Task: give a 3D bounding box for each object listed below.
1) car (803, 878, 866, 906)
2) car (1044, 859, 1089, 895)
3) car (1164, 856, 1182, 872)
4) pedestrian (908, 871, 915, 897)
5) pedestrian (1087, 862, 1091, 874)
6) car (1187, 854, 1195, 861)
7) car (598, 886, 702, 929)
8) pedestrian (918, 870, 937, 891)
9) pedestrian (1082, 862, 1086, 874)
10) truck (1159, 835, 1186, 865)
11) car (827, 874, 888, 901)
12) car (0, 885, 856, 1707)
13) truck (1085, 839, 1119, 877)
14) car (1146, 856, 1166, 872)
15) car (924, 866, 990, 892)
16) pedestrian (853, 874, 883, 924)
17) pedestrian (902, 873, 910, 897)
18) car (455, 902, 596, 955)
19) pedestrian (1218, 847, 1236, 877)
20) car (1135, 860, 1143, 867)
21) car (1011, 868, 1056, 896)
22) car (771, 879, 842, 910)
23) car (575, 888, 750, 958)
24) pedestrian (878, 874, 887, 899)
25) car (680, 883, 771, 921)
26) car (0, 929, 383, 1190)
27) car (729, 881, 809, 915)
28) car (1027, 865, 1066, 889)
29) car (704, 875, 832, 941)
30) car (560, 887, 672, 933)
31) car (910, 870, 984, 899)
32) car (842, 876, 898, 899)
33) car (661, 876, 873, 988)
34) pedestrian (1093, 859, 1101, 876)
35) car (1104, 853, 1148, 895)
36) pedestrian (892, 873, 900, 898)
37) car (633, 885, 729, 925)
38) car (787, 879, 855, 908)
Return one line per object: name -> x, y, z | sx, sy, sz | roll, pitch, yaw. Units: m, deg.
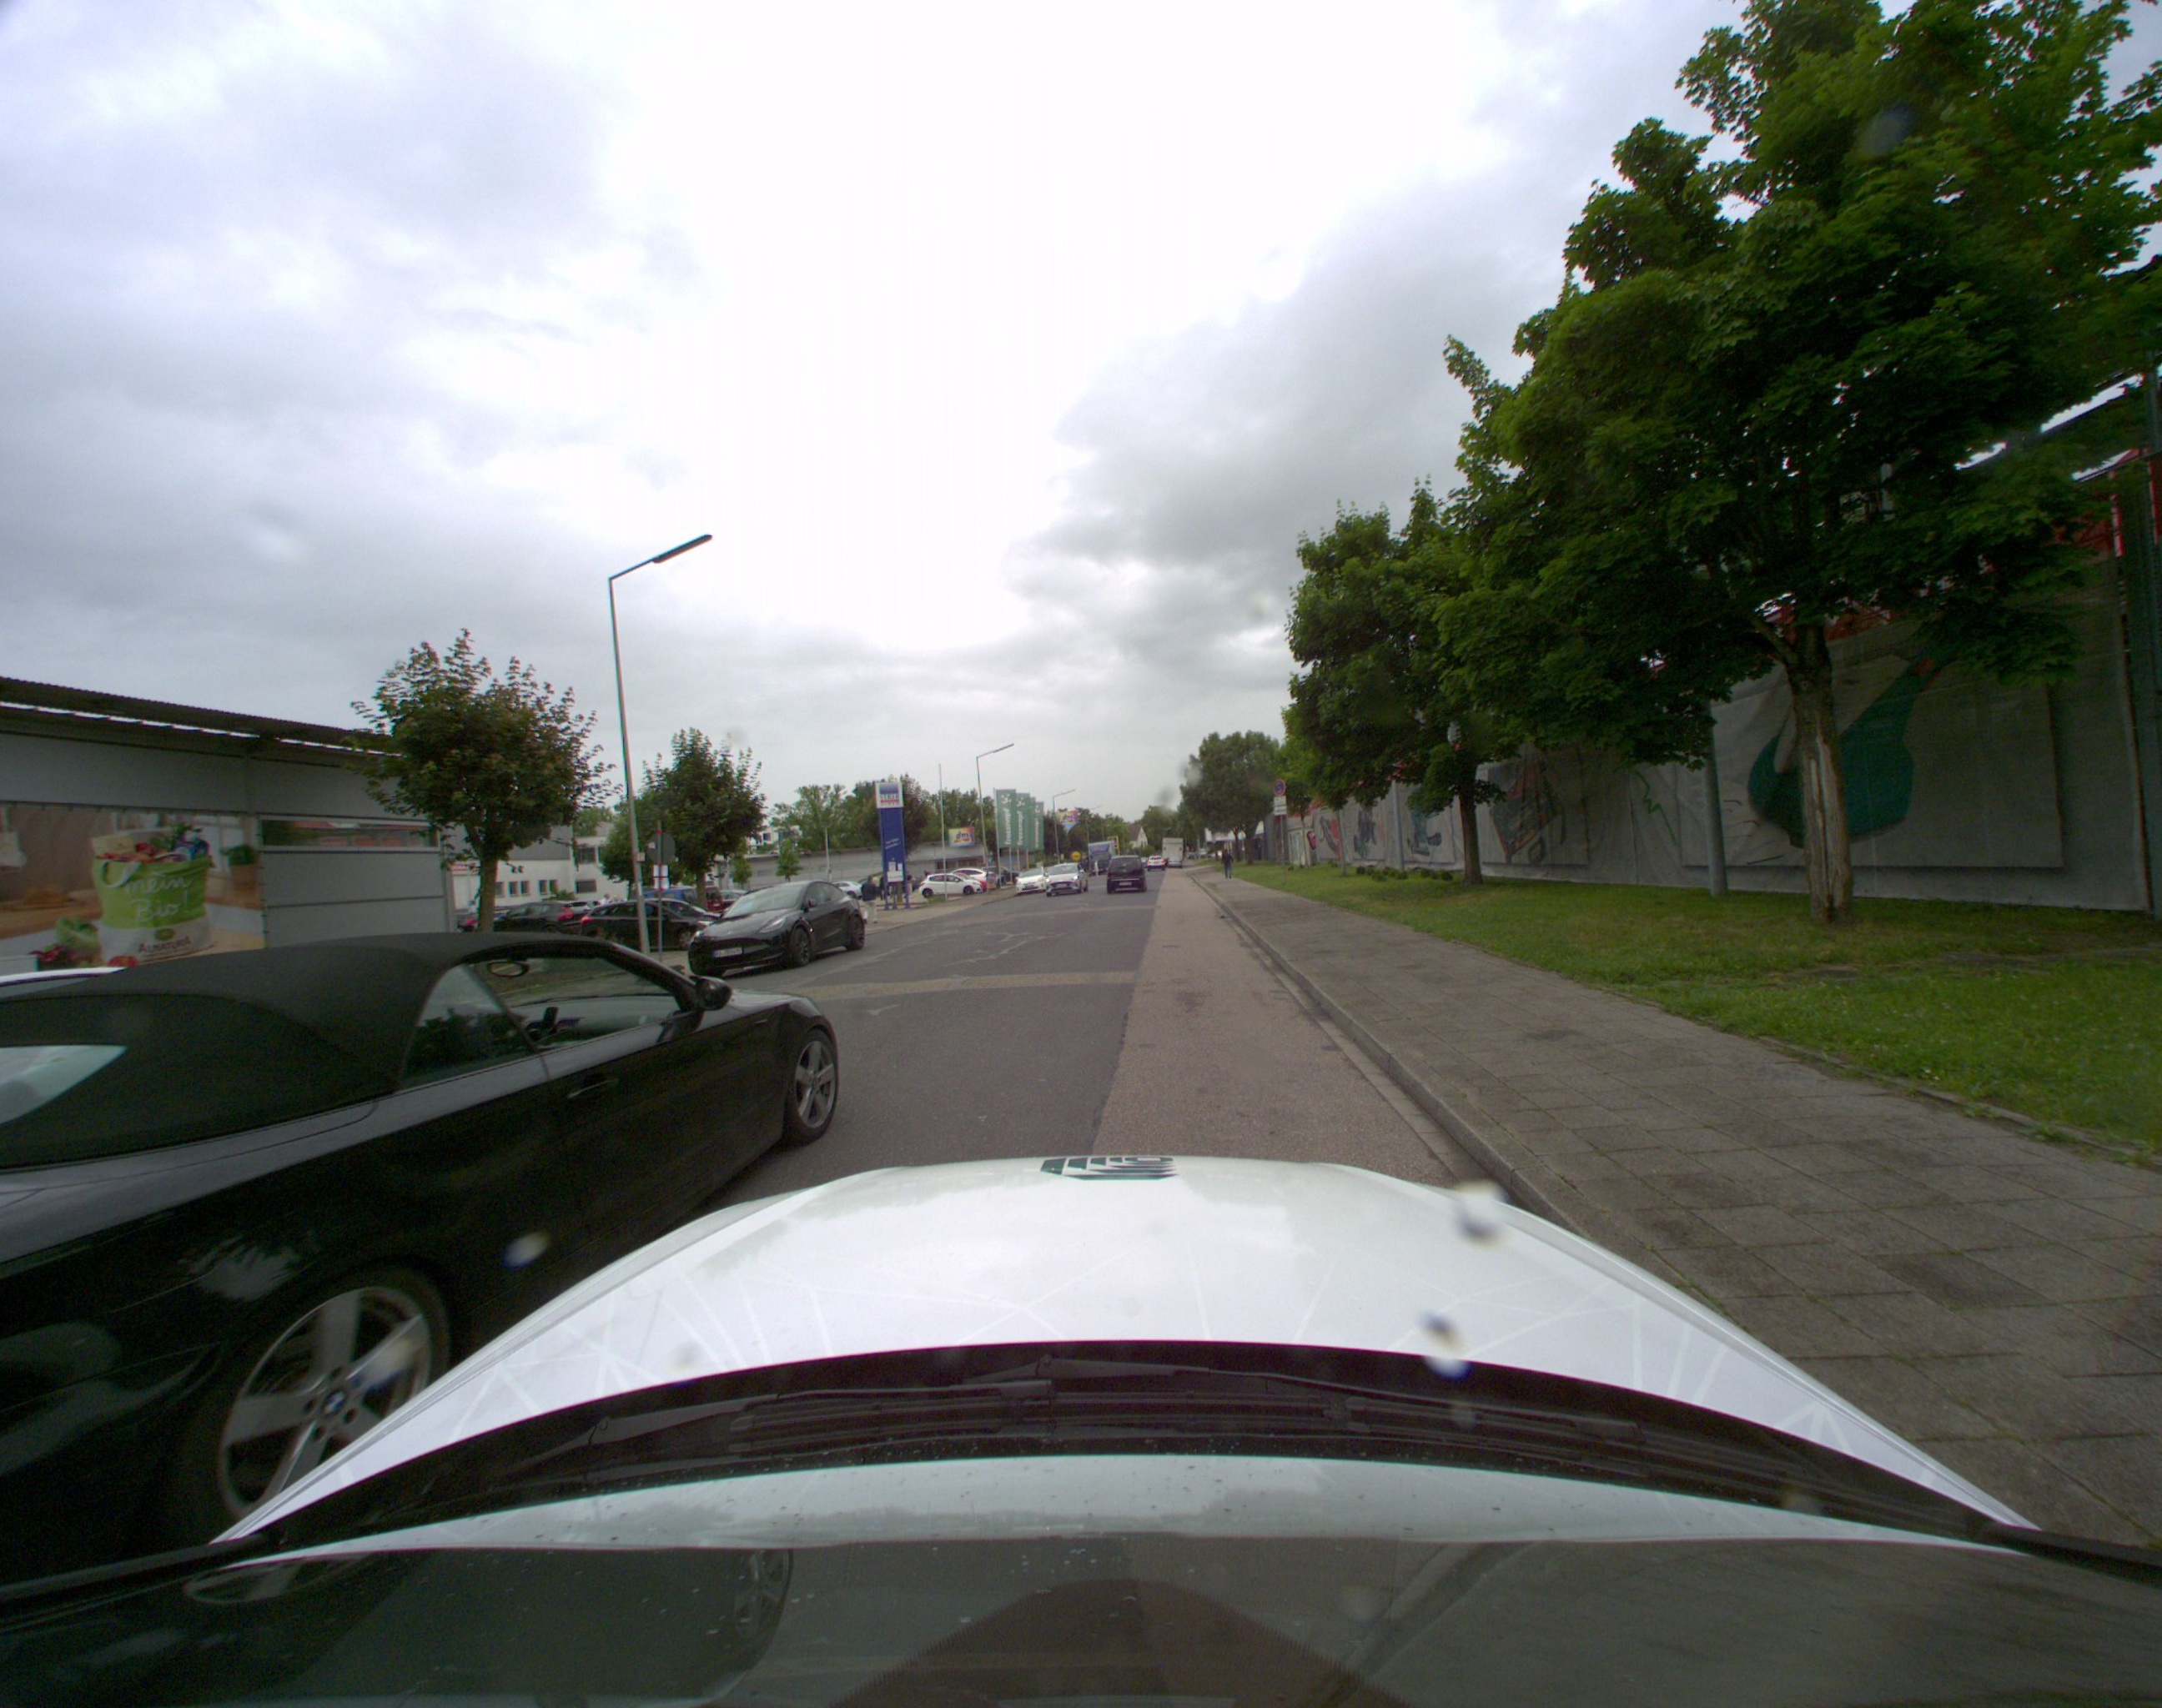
car -> -18.447, 2.813, 60.935 | 3.967, 1.669, 1.880 | -5, -1, 6
car -> -0.664, 1.093, 39.661 | 1.590, 1.528, 3.534 | -6, -1, 7
car -> 11.087, 1.246, 98.224 | 1.984, 1.806, 4.005 | -3, -1, 5
pedestrian -> -11.302, 1.993, 54.299 | 0.262, 1.730, 0.421 | -4, -1, -6
pedestrian -> 1.077, 1.790, 106.632 | 0.400, 1.531, 0.485 | -5, -1, 0
car -> 27.256, 0.779, 201.410 | 1.876, 1.683, 4.262 | -3, 0, 7
car -> -20.951, 2.574, 39.684 | 3.967, 1.669, 1.880 | -5, -1, 6
pedestrian -> -15.431, 2.679, 81.845 | 1.393, 2.013, 1.198 | -4, -1, -34
pedestrian -> 0.334, 1.704, 99.447 | 0.400, 1.531, 0.485 | -5, -1, 0
truck -> 11.974, -0.398, 107.352 | 3.120, 3.585, 10.064 | -3, -1, 5
car -> -17.401, 2.595, 63.503 | 3.967, 1.669, 1.880 | -5, -1, 6
car -> -2.484, 0.904, 3.090 | 1.737, 1.358, 4.142 | -4, -1, 4
truck -> 2.455, 0.399, 93.793 | 2.958, 3.955, 6.417 | -6, -1, 7
car -> 7.949, 1.068, 85.591 | 1.876, 1.532, 4.262 | -3, 0, 7
car -> -8.503, 1.713, 56.198 | 4.121, 1.463, 1.899 | -5, -1, 0
pedestrian -> -7.615, 1.584, 29.097 | 0.772, 1.715, 0.697 | -4, -1, 2
pedestrian -> -11.728, 2.066, 54.578 | 0.329, 1.570, 0.503 | -3, -1, -5
car -> -20.985, 2.786, 30.988 | 4.003, 1.485, 1.863 | -5, -1, -22
pedestrian -> 8.155, 0.457, 45.573 | 0.914, 1.635, 0.854 | -3, -1, 8
car -> 12.546, 2.045, 175.895 | 1.534, 1.365, 3.434 | -3, -1, 6
car -> -2.784, 1.617, 48.375 | 1.888, 1.367, 4.007 | -5, -1, 6
car -> -18.445, 2.713, 54.728 | 3.967, 1.669, 1.880 | -5, -1, 6
car -> -11.659, 1.905, 22.864 | 3.853, 1.620, 1.931 | -3, -1, 6
pedestrian -> -13.252, 2.154, 54.315 | 0.455, 1.642, 0.373 | -4, -1, -12
car -> -19.332, 2.576, 44.387 | 3.967, 1.669, 1.880 | -5, -1, 6
car -> -7.405, 1.481, 5.108 | 1.690, 1.367, 4.525 | -9, -1, 6
car -> -18.965, 2.652, 49.606 | 3.967, 1.669, 1.880 | -5, -1, 6
car -> -2.288, 1.515, 54.976 | 1.888, 1.367, 4.007 | -5, -1, 6
car -> -11.544, 1.960, 30.219 | 3.918, 2.013, 1.760 | -5, -1, -1
car -> -21.296, 2.550, 37.368 | 3.967, 1.669, 1.880 | -5, -1, 6
car -> -8.390, 1.905, 51.230 | 4.192, 1.463, 1.952 | -5, -1, -2
car -> -17.187, 2.743, 66.396 | 3.966, 1.492, 1.789 | -5, -1, 6
car -> -5.859, 1.378, 15.906 | 1.938, 1.526, 4.408 | -9, -1, 5
pedestrian -> 1.633, 1.357, 83.055 | 0.628, 1.636, 0.669 | -5, -1, 5
car -> 2.055, 0.855, 36.378 | 1.673, 1.632, 3.765 | -5, -1, 5
pedestrian -> -12.346, 2.102, 54.422 | 0.358, 1.570, 0.503 | -4, -1, -5
car -> -20.623, 2.601, 42.081 | 3.967, 1.669, 1.880 | -5, -1, 6
car -> -18.285, 2.762, 57.393 | 3.967, 1.669, 1.880 | -5, -1, 6
